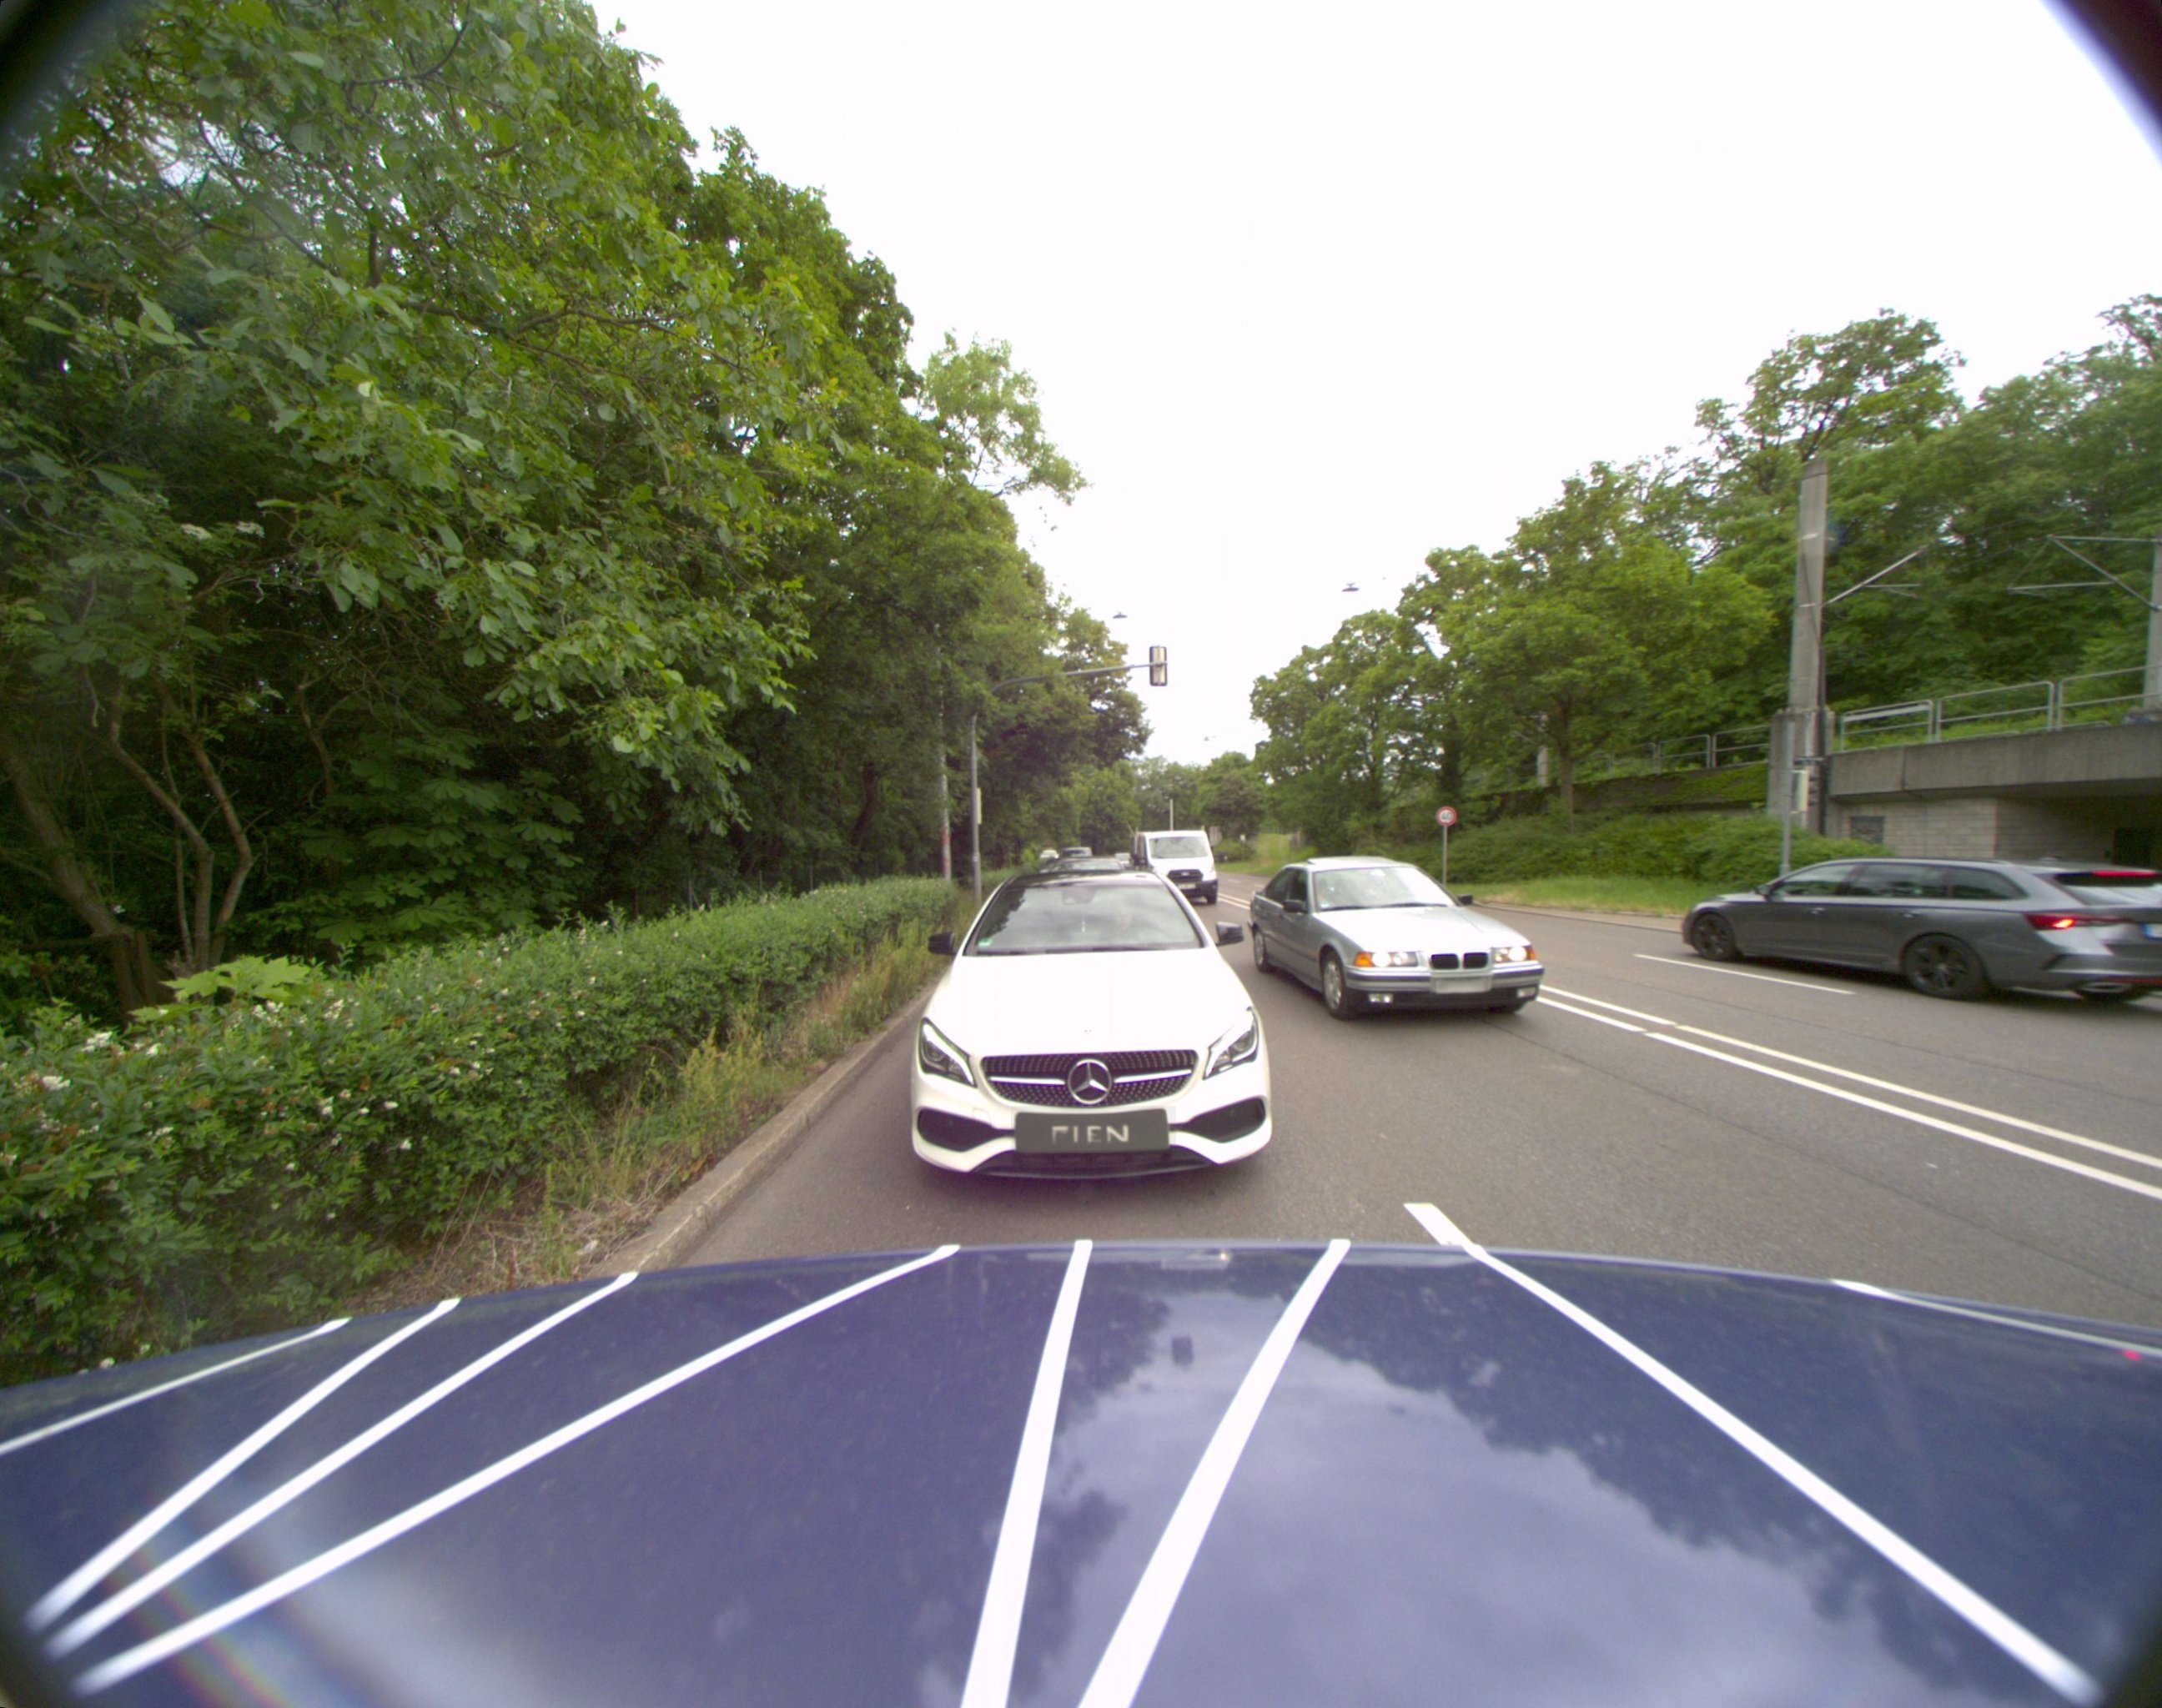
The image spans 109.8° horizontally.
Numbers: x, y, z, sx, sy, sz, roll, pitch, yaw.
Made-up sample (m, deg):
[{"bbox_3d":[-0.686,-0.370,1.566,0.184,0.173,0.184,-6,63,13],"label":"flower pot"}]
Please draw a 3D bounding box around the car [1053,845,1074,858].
[{"bbox_3d":[-2.050,-0.293,90.172,1.754,1.575,4.013,1,0,10],"label":"car"}]

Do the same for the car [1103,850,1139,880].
[{"bbox_3d":[2.183,0.555,42.294,1.855,1.583,4.000,0,0,2],"label":"car"}]

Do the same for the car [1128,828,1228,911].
[{"bbox_3d":[2.836,0.397,23.868,2.285,2.187,6.458,-1,0,0],"label":"car"}]

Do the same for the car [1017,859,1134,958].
[{"bbox_3d":[-0.087,0.833,13.449,1.755,1.417,4.010,0,0,0],"label":"car"}]

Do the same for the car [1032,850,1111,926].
[{"bbox_3d":[-0.165,0.748,19.137,1.794,1.713,4.000,0,0,1],"label":"car"}]

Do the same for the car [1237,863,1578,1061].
[{"bbox_3d":[2.912,0.847,7.861,1.664,1.382,4.182,-1,0,-1],"label":"car"}]

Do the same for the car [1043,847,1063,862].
[{"bbox_3d":[-2.743,0.057,75.302,1.765,1.433,3.891,1,0,0],"label":"car"}]

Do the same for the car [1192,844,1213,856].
[{"bbox_3d":[20.632,-0.712,129.375,1.994,2.002,4.007,1,2,34],"label":"car"}]

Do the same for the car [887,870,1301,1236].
[{"bbox_3d":[0.087,0.940,5.422,1.801,1.470,4.010,-2,0,1],"label":"car"}]

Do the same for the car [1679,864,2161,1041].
[{"bbox_3d":[9.242,0.852,8.490,1.684,1.387,4.360,0,0,0],"label":"car"}]

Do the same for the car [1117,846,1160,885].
[{"bbox_3d":[2.669,0.489,36.012,1.800,1.740,4.000,0,0,1],"label":"car"}]

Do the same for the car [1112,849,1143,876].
[{"bbox_3d":[3.013,0.518,49.747,1.854,1.641,4.358,1,0,3],"label":"car"}]
